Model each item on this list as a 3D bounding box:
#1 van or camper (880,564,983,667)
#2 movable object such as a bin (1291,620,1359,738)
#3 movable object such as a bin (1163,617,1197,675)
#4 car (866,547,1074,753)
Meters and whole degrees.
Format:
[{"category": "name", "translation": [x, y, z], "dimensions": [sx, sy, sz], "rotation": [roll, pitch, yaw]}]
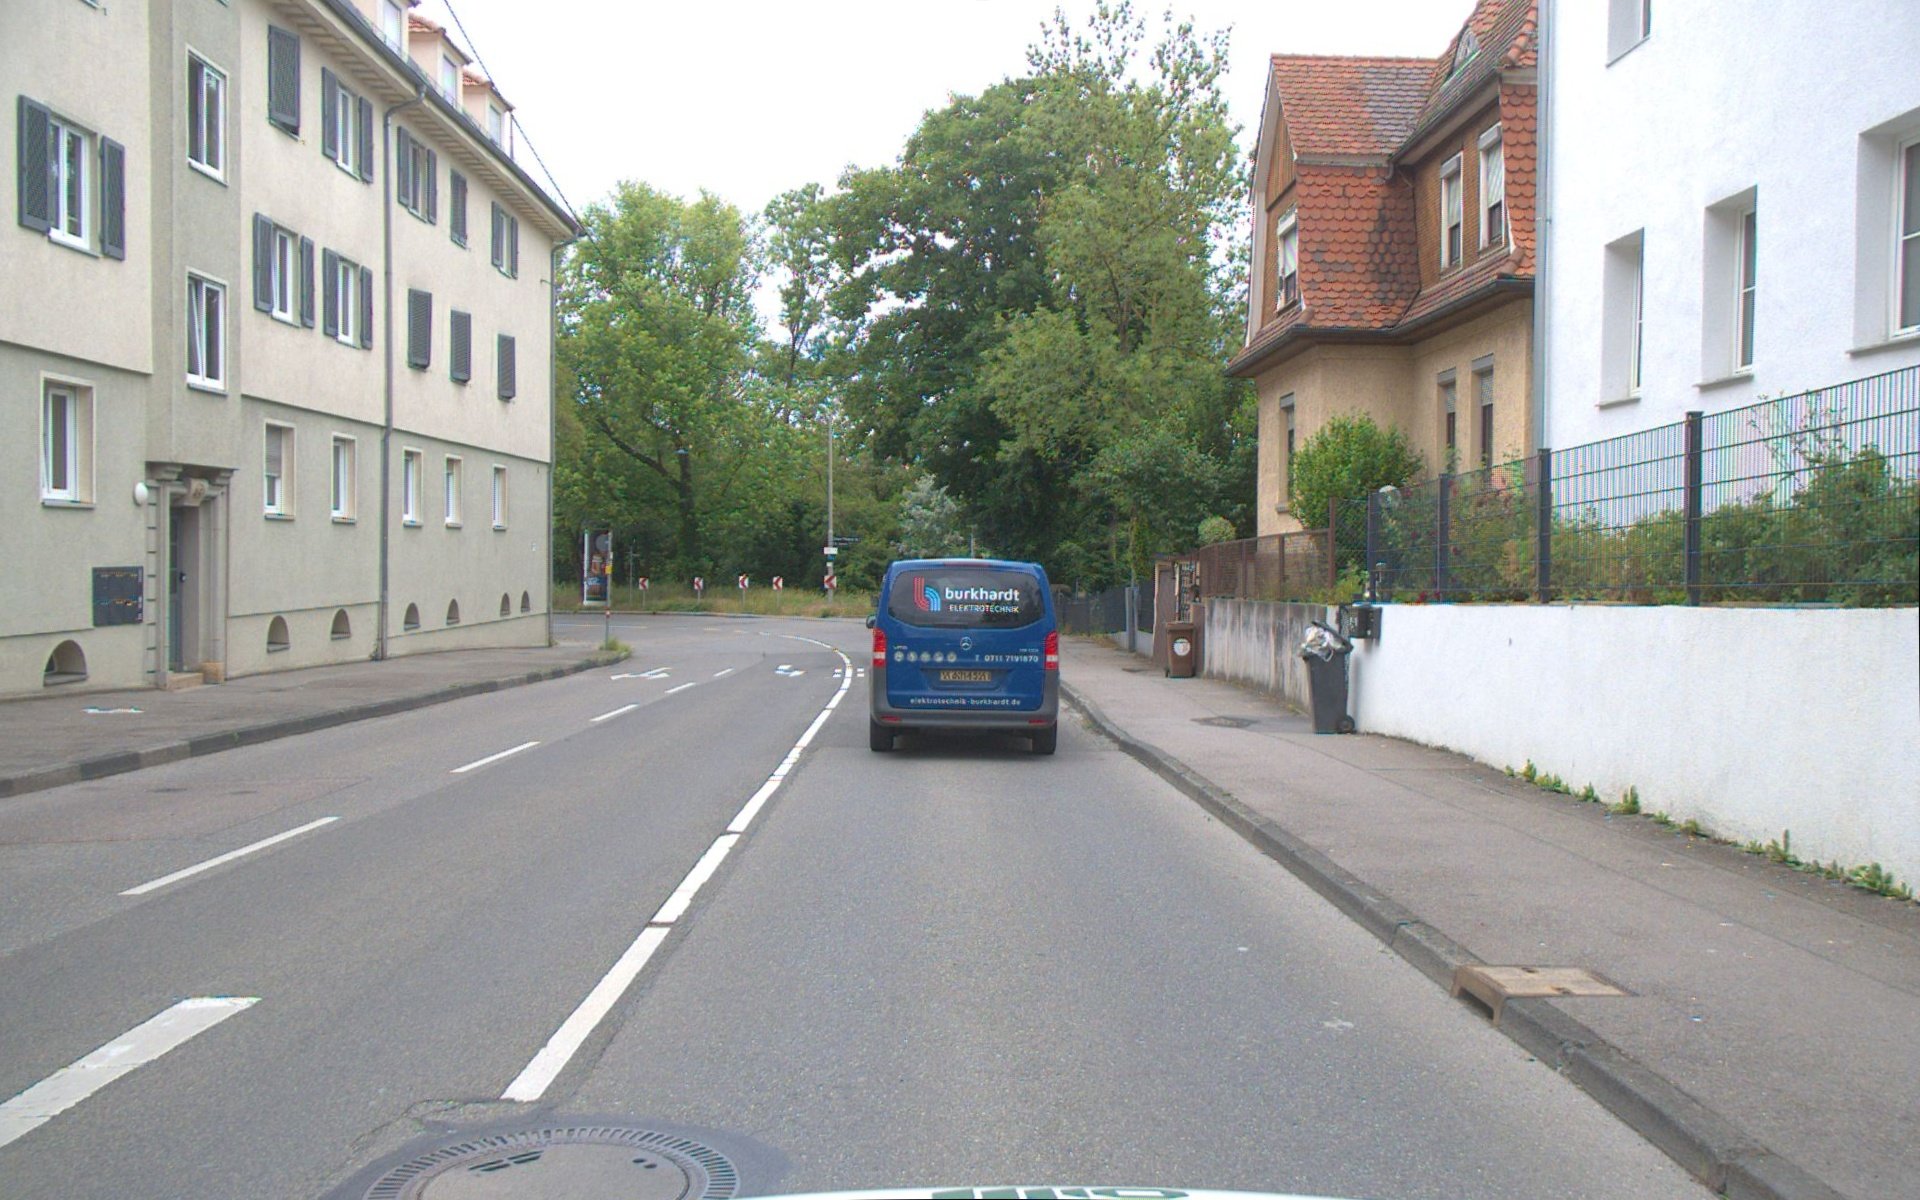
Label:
[{"category": "van or camper", "translation": [-0.689, 0.265, 35.787], "dimensions": [1.979, 1.991, 4.894], "rotation": [-3, 1, -3]}, {"category": "movable object such as a bin", "translation": [3.885, 0.829, 17.634], "dimensions": [0.517, 1.198, 0.634], "rotation": [-3, 0, -3]}, {"category": "movable object such as a bin", "translation": [3.719, 0.770, 27.979], "dimensions": [0.452, 0.940, 0.566], "rotation": [-3, 0, -2]}, {"category": "car", "translation": [-0.024, 0.453, 17.407], "dimensions": [1.875, 1.870, 4.291], "rotation": [1, 0, -4]}]
